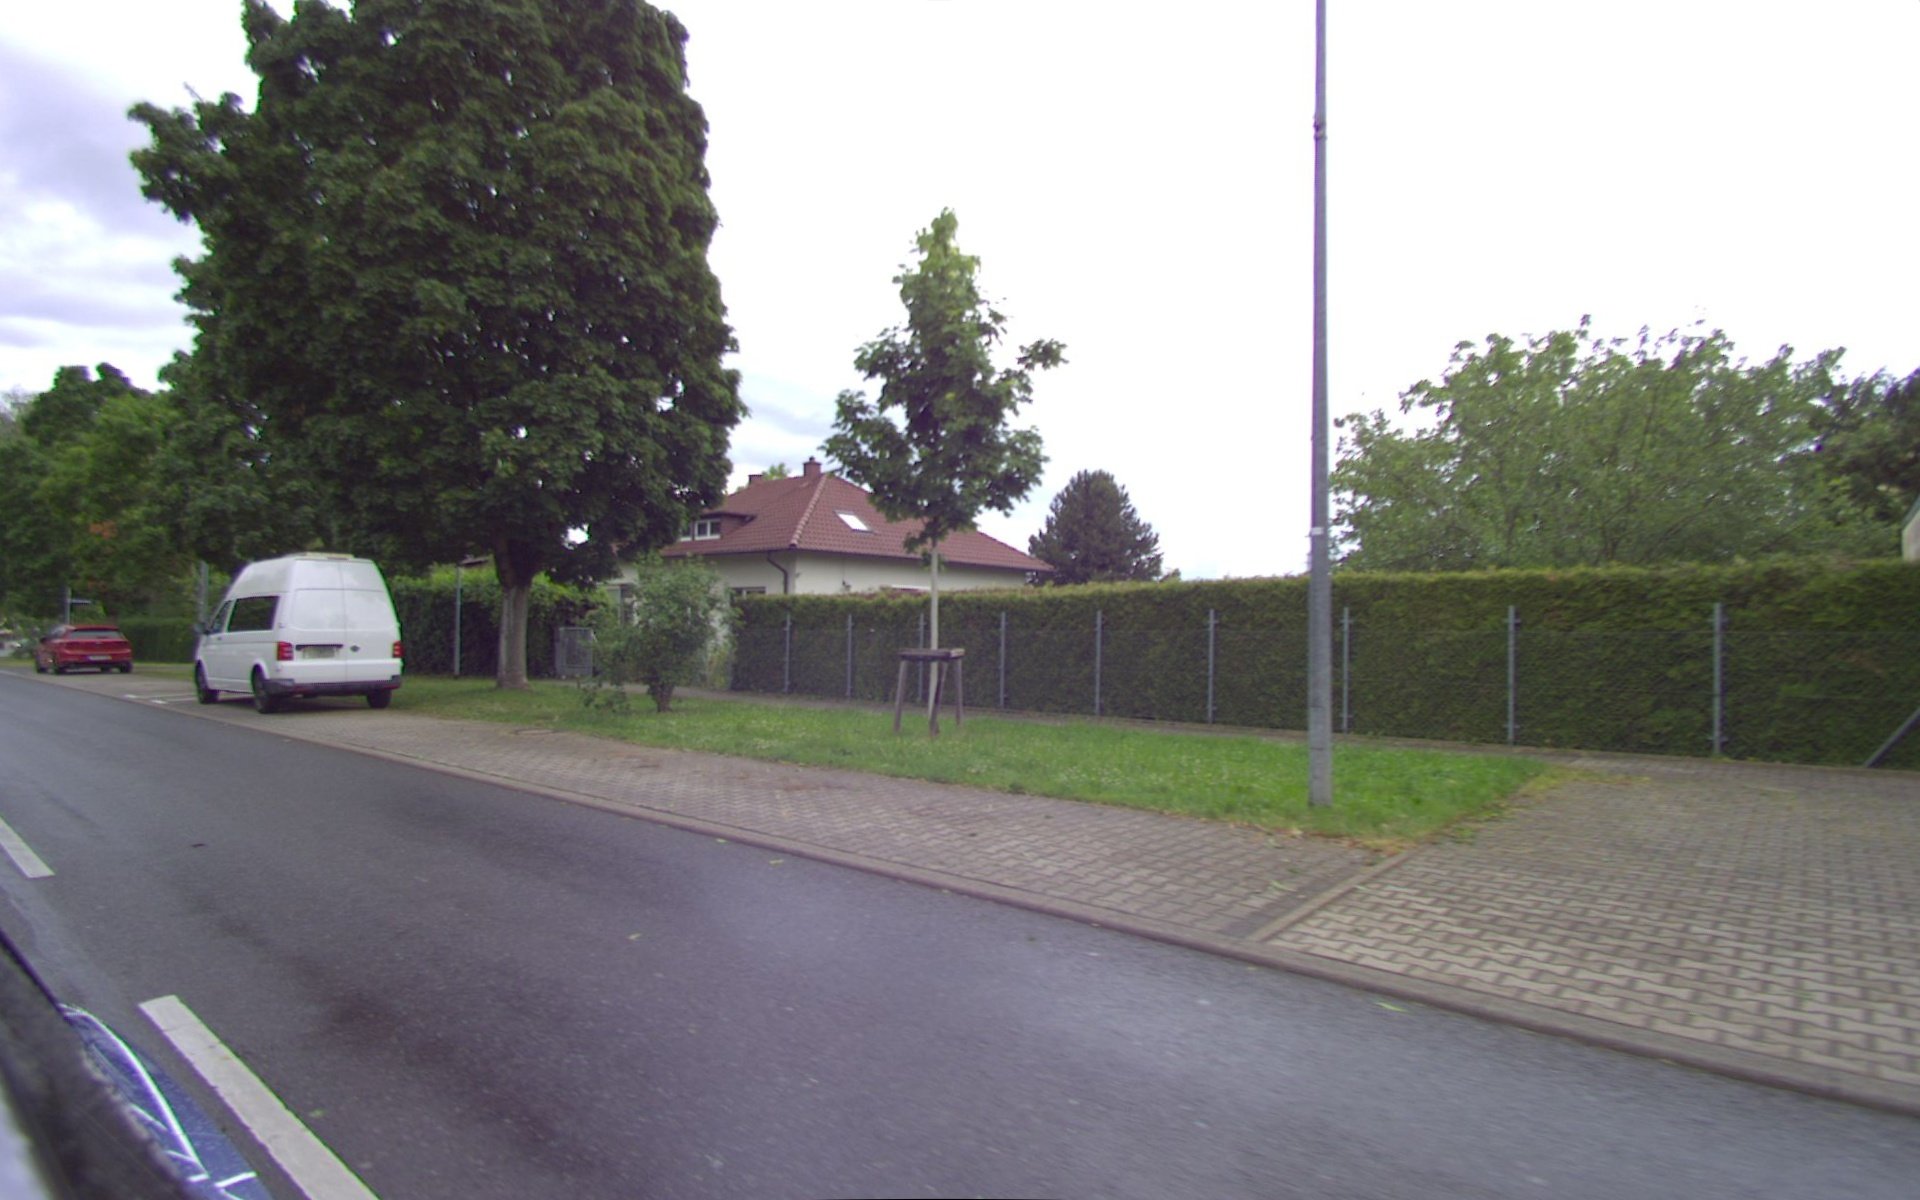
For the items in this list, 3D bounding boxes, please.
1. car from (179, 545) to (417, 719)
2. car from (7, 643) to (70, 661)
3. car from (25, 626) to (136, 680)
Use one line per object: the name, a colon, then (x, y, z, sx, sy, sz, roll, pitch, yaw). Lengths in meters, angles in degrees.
car: (-11.487, 0.558, 17.396, 5.228, 2.580, 1.973, -2, -3, 40)
car: (-91.297, 5.135, 100.312, 4.368, 1.428, 1.760, -3, 0, -34)
car: (-25.934, 1.539, 29.810, 4.246, 1.477, 1.824, -2, -2, 40)
